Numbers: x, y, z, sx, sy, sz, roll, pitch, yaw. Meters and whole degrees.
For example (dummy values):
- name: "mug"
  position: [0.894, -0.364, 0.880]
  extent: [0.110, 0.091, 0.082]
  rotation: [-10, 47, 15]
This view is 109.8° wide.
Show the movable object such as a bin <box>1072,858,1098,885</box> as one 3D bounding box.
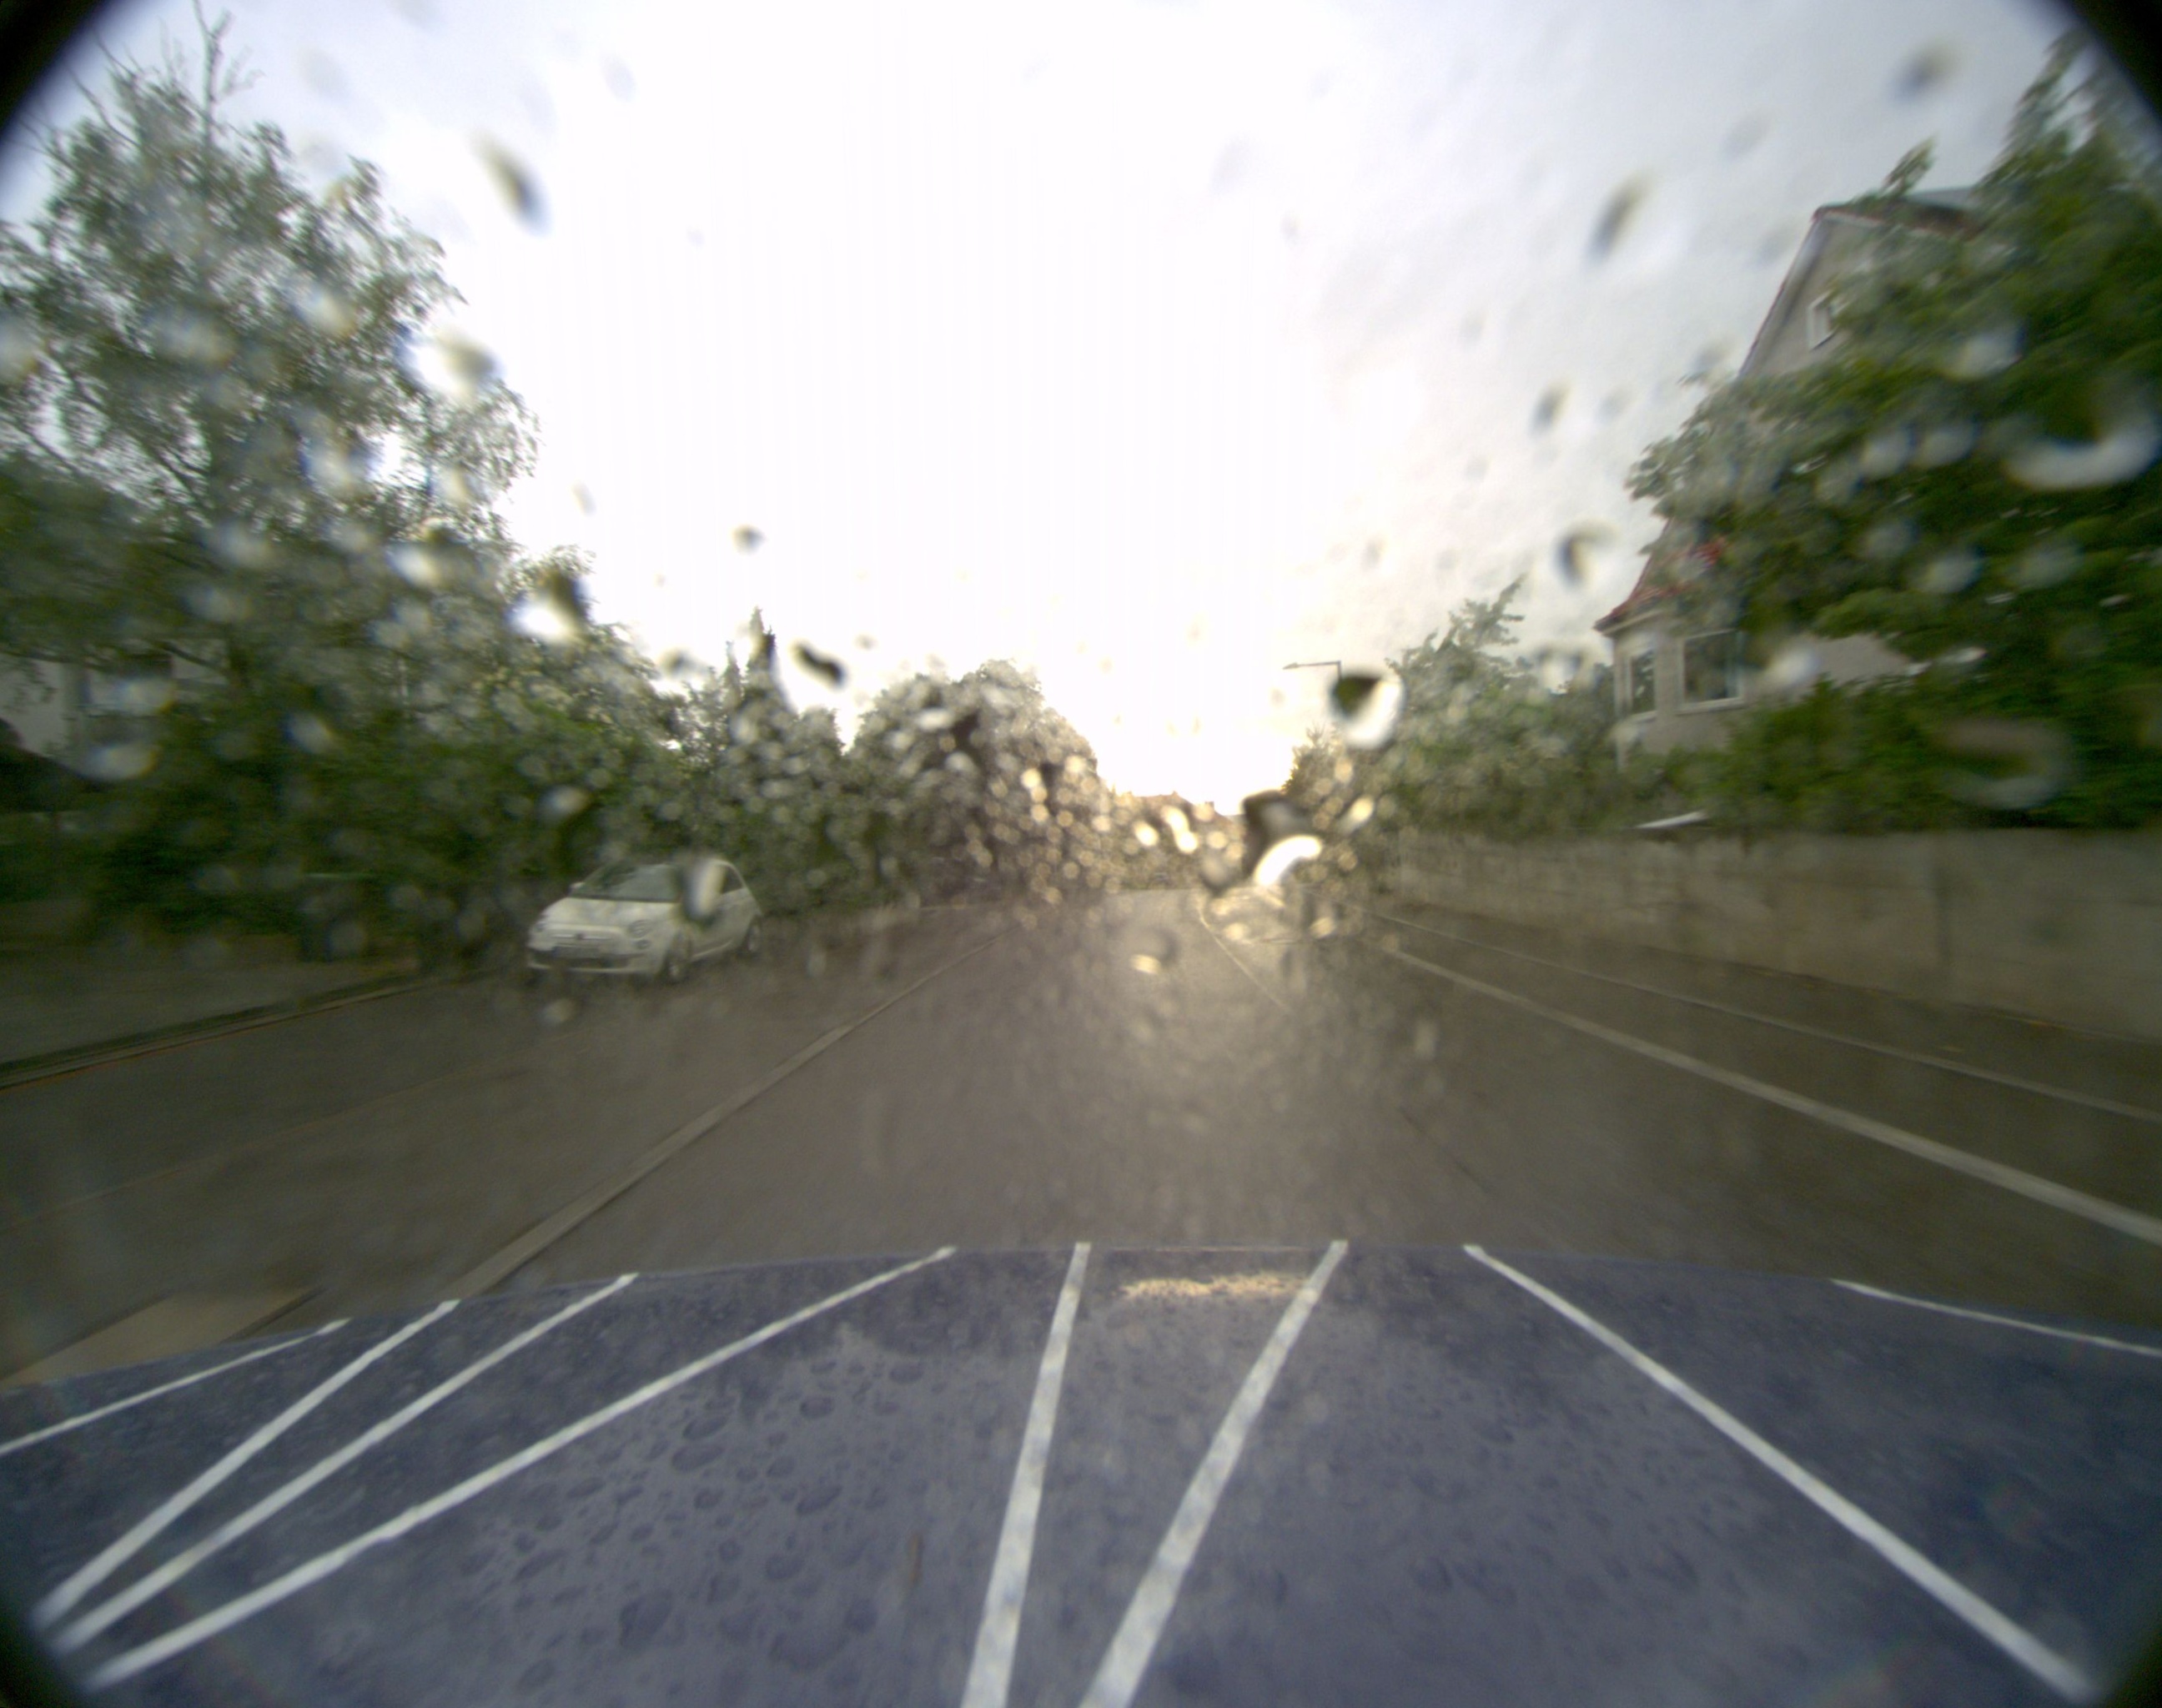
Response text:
- name: "movable object such as a bin"
  position: [0.229, 0.991, 43.500]
  extent: [1.245, 1.488, 0.982]
  rotation: [-1, -1, -19]

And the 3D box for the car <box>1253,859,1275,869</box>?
- name: "car"
  position: [37.068, 2.033, 153.816]
  extent: [3.933, 1.772, 1.770]
  rotation: [-1, 2, -1]

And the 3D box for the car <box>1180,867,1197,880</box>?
- name: "car"
  position: [15.108, 2.742, 107.057]
  extent: [1.723, 1.554, 3.792]
  rotation: [0, 2, -2]

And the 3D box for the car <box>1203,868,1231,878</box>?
- name: "car"
  position: [22.788, 3.226, 127.361]
  extent: [4.084, 1.399, 1.728]
  rotation: [-5, -2, 37]

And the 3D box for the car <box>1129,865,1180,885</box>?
- name: "car"
  position: [6.803, 1.953, 70.345]
  extent: [4.534, 1.650, 1.858]
  rotation: [-2, -2, 8]

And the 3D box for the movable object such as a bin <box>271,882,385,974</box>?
- name: "movable object such as a bin"
  position: [-8.988, 0.871, 9.095]
  extent: [0.636, 1.004, 0.700]
  rotation: [1, 3, 0]

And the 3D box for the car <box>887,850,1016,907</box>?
- name: "car"
  position: [-4.735, 0.904, 27.688]
  extent: [4.336, 1.706, 1.731]
  rotation: [-5, 0, 26]

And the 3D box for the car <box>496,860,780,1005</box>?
- name: "car"
  position: [-5.563, 0.868, 10.160]
  extent: [1.536, 1.526, 3.845]
  rotation: [2, 0, -1]

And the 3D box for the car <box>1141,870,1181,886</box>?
- name: "car"
  position: [7.985, 2.384, 75.460]
  extent: [3.749, 1.449, 1.727]
  rotation: [-2, -2, 13]
